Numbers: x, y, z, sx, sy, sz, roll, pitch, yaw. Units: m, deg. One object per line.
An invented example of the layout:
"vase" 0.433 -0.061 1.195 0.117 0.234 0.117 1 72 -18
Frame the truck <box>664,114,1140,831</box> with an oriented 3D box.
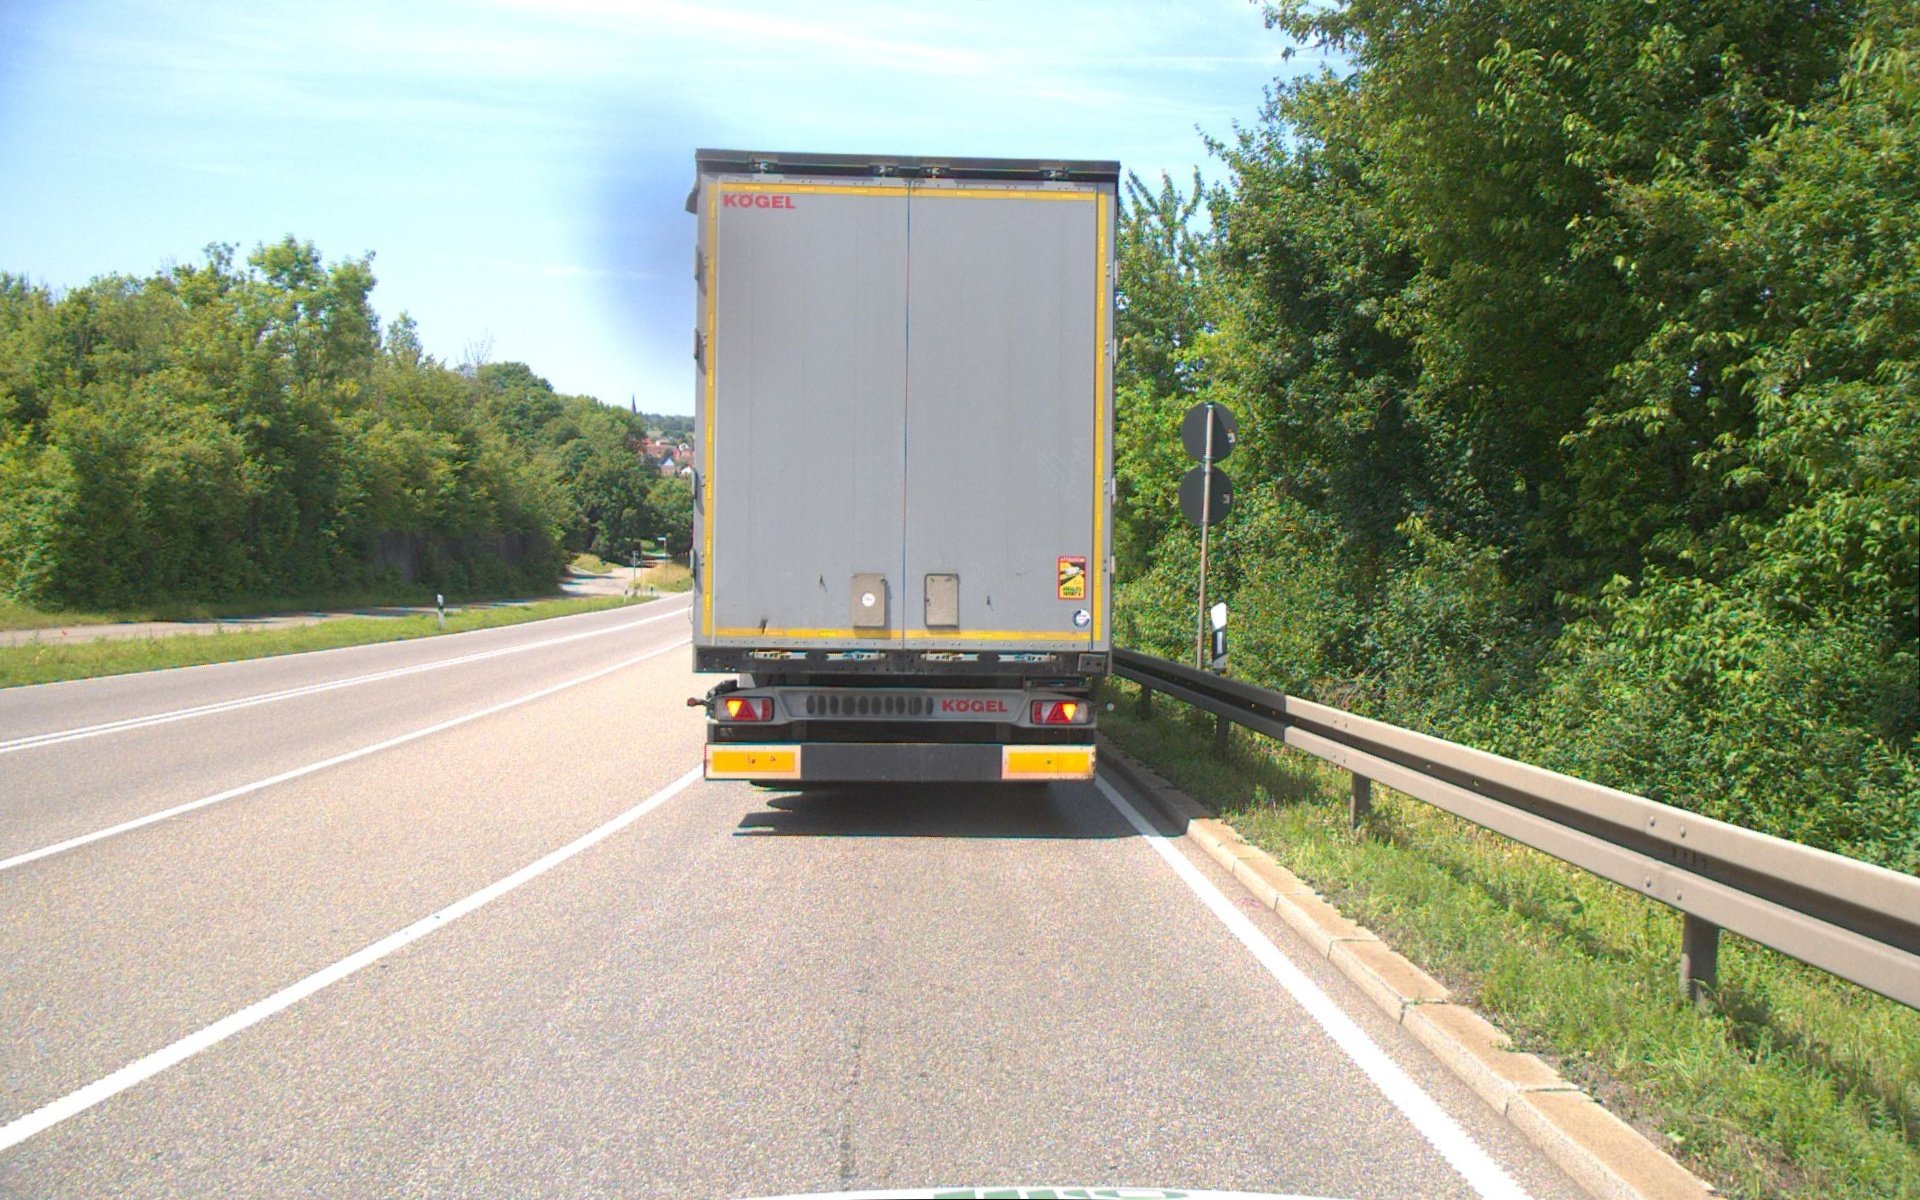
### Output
"truck" -0.499 -0.783 15.495 2.701 4.100 11.920 1 1 -2
